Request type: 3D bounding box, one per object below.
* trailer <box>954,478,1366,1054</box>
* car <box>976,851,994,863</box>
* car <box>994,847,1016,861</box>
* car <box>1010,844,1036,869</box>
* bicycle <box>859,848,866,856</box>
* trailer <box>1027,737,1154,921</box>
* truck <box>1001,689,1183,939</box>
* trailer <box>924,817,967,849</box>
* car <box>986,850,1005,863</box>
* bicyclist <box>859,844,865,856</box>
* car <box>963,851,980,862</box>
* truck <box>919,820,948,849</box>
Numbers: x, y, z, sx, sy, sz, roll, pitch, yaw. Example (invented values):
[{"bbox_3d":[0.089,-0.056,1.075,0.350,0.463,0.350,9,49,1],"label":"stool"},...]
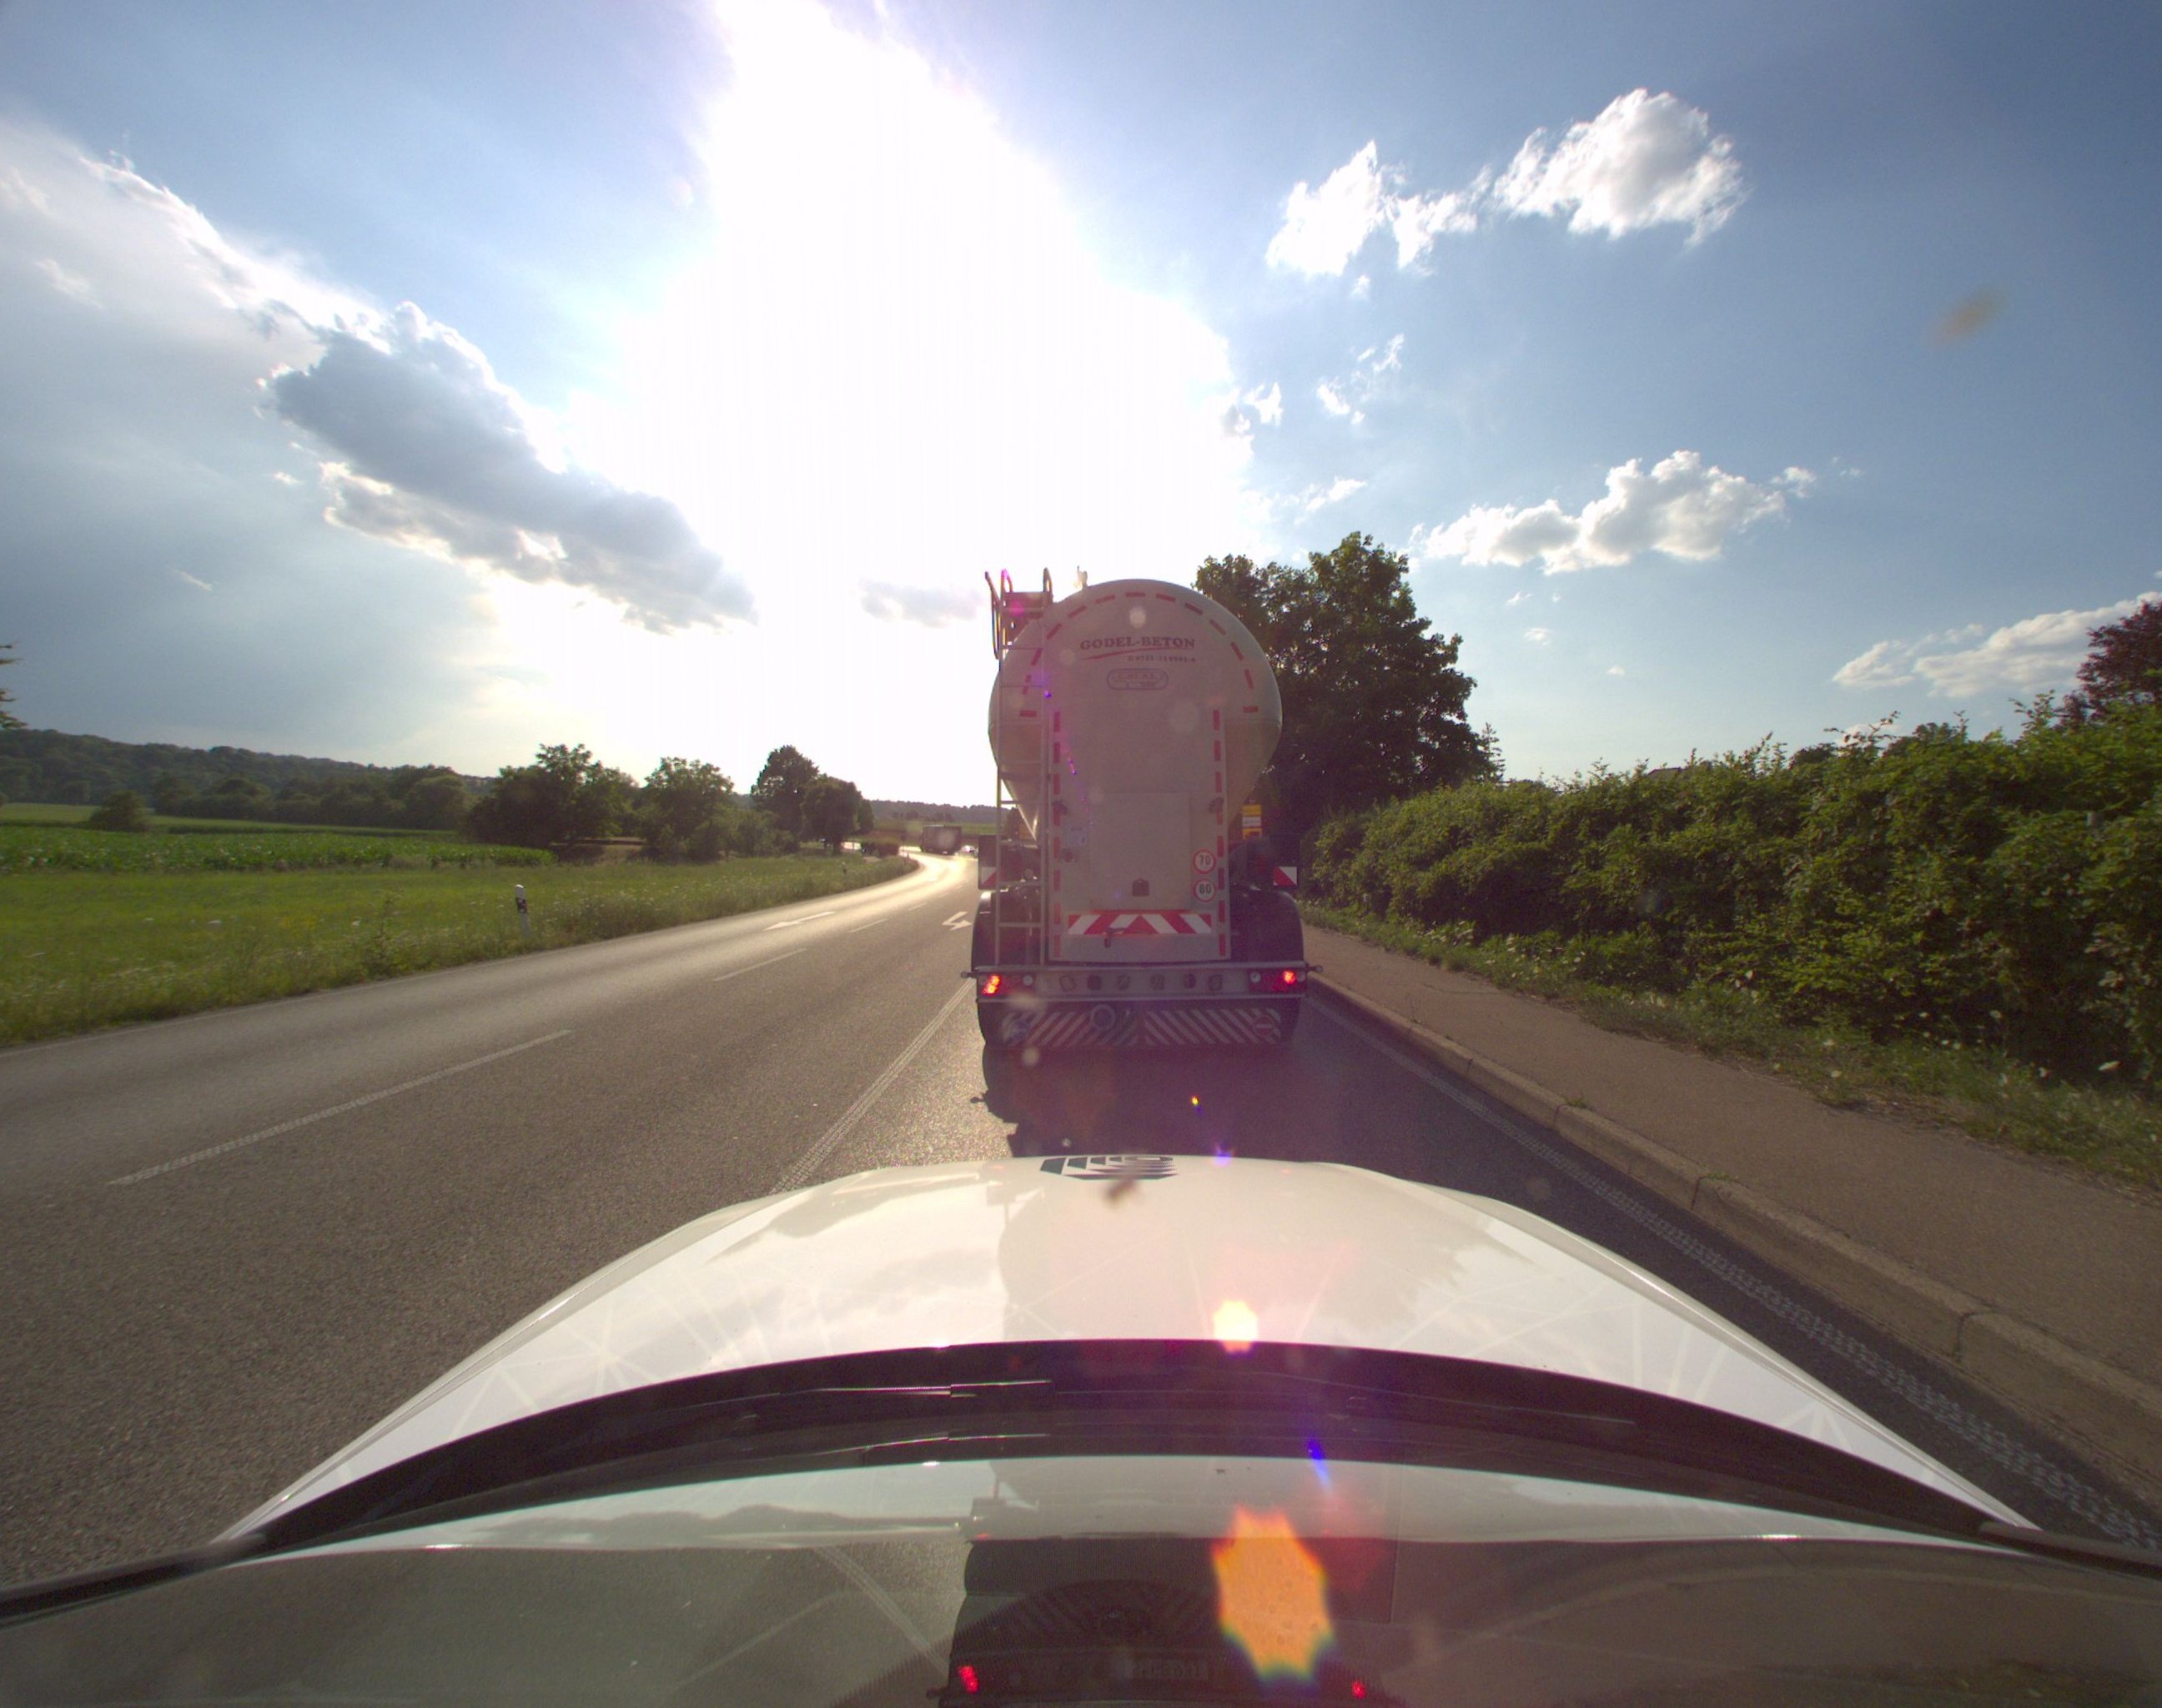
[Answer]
[{"bbox_3d":[0.314,-0.626,10.711,2.903,4.006,9.918,0,0,-3],"label":"trailer"},{"bbox_3d":[-11.353,0.376,96.341,1.583,1.341,3.407,1,0,-16],"label":"car"},{"bbox_3d":[-7.680,-0.024,81.860,1.583,1.341,3.407,1,0,-16],"label":"car"},{"bbox_3d":[-4.855,0.193,67.465,1.861,2.013,3.708,0,0,-9],"label":"car"},{"bbox_3d":[-27.724,-0.243,103.217,0.634,1.074,1.667,2,0,-6],"label":"bicycle"},{"bbox_3d":[0.481,-0.622,26.379,2.943,4.315,14.182,1,0,2],"label":"trailer"},{"bbox_3d":[0.072,-0.653,15.159,2.903,4.006,4.054,0,0,-4],"label":"truck"},{"bbox_3d":[-20.198,-2.973,120.307,3.388,4.350,14.192,1,0,-21],"label":"trailer"},{"bbox_3d":[-9.264,0.306,88.073,1.583,1.341,3.407,1,0,-16],"label":"car"},{"bbox_3d":[-27.702,-0.494,103.128,0.634,1.419,0.689,2,0,-7],"label":"bicyclist"},{"bbox_3d":[-13.820,0.302,102.638,1.773,1.205,3.407,-2,1,-16],"label":"car"},{"bbox_3d":[-23.205,-3.066,128.099,3.388,4.350,5.665,1,0,-21],"label":"truck"}]
